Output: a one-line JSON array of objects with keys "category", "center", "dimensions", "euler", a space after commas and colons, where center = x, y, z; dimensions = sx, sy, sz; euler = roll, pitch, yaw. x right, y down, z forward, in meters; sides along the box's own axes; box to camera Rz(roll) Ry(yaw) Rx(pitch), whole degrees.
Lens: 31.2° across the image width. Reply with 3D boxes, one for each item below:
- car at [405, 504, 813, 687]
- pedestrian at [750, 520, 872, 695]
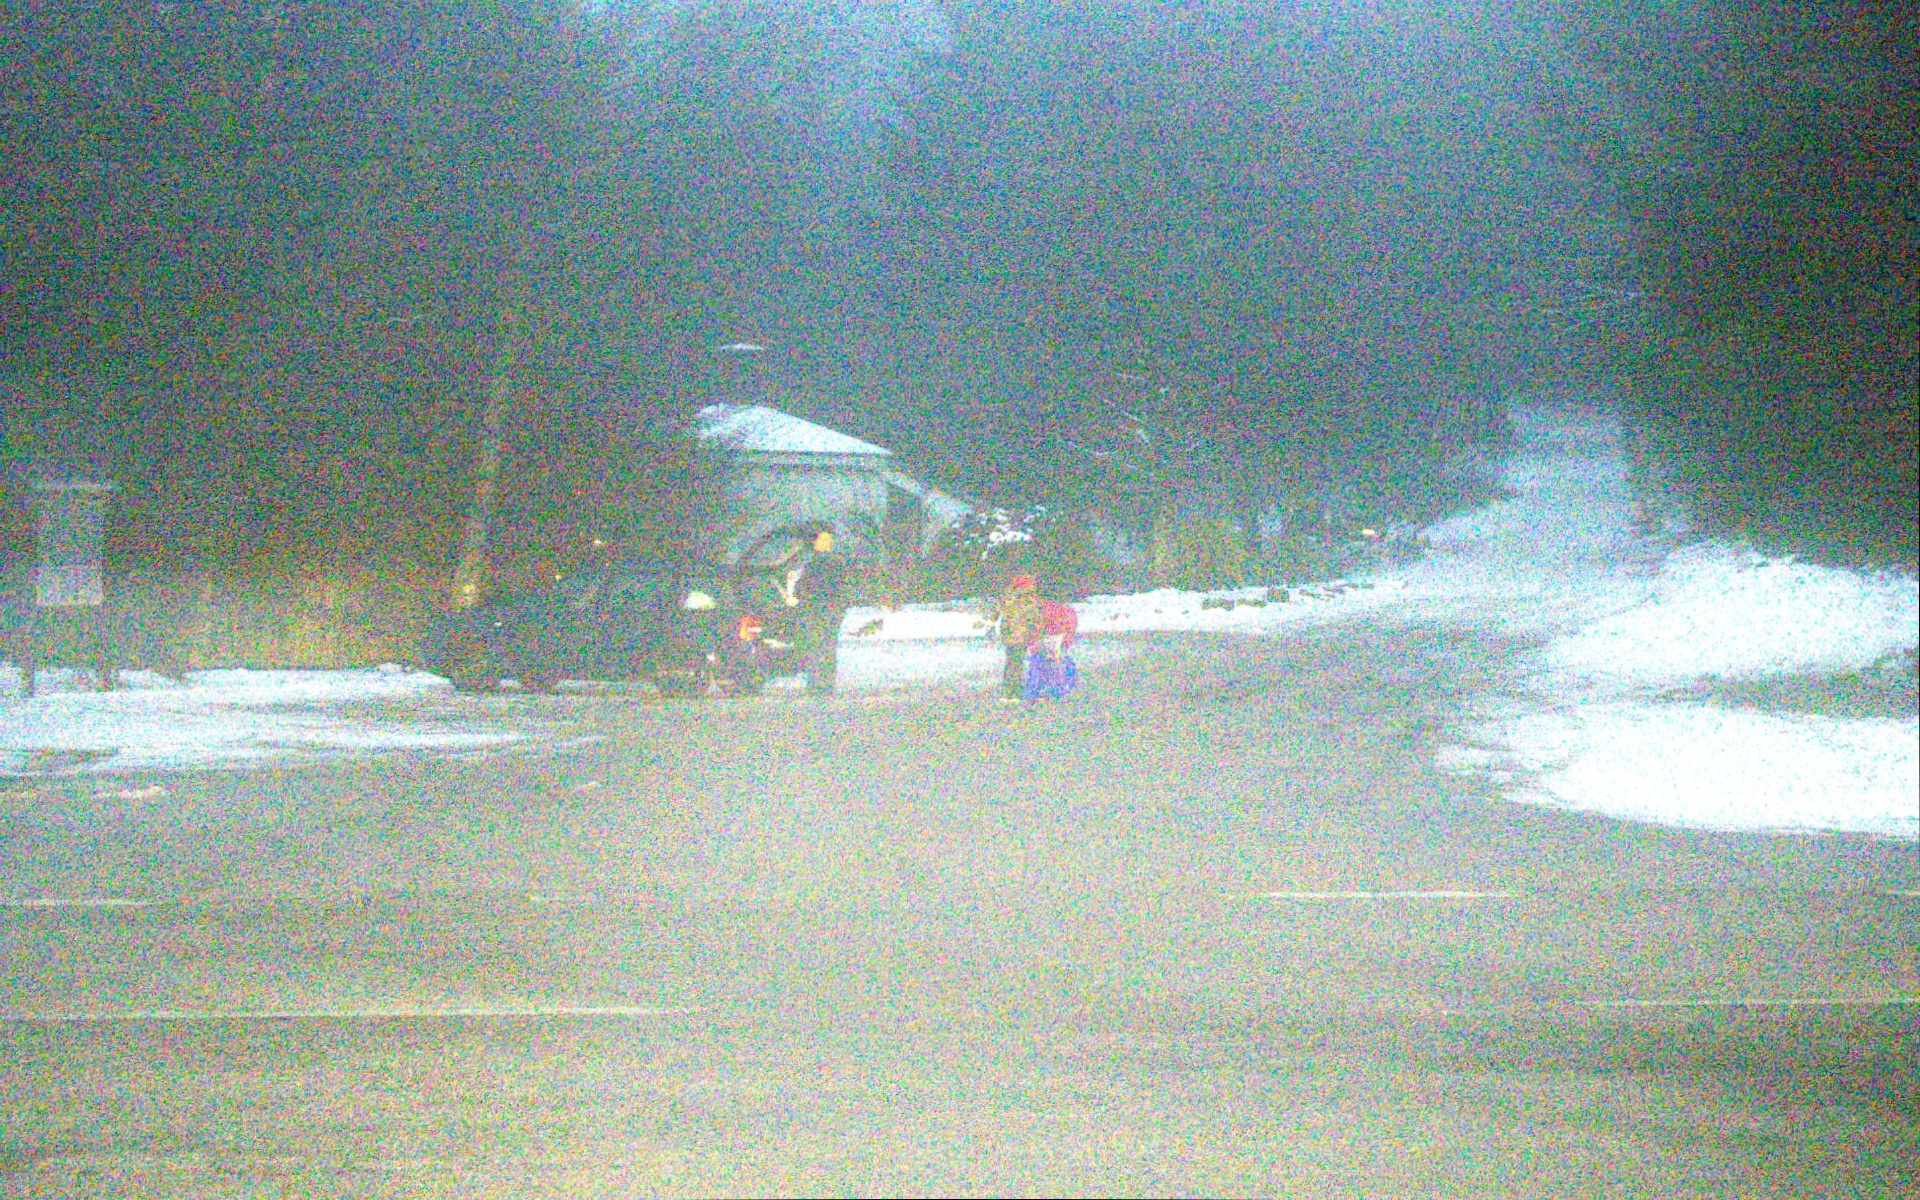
[{"category": "car", "center": [-3.820, -0.052, 37.663], "dimensions": [3.950, 1.875, 1.998], "euler": [1, 0, 16]}, {"category": "pedestrian", "center": [-1.576, 0.080, 36.501], "dimensions": [0.961, 1.822, 0.924], "euler": [1, 0, 21]}]
